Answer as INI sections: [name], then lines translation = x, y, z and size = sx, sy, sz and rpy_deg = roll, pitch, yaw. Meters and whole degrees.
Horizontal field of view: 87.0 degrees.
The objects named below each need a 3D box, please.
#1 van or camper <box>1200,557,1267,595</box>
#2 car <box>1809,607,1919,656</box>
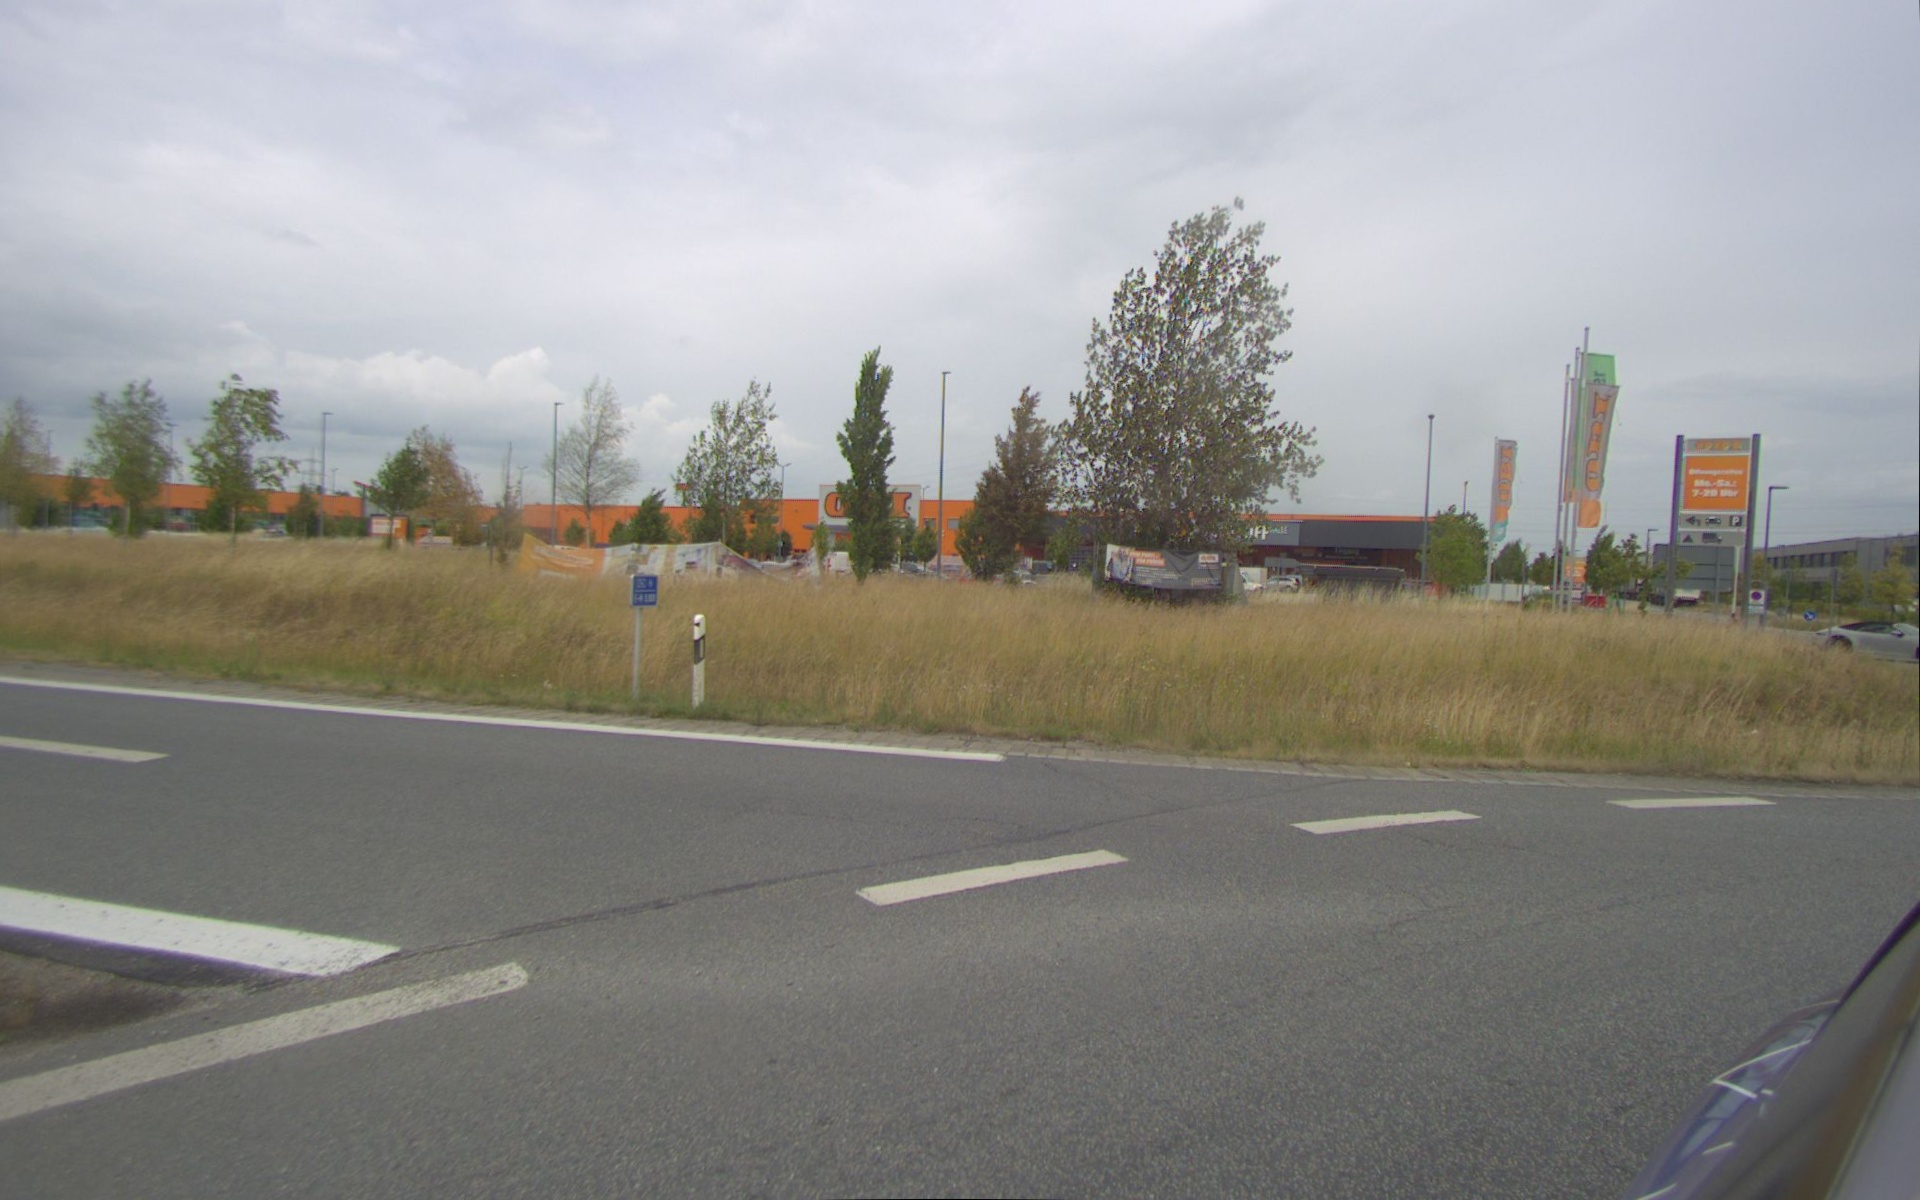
[van or camper]
translation = 21.801, -1.935, 80.793
size = 4.723, 2.825, 1.979
rpy_deg = 3, 2, 30
[car]
translation = 31.504, 1.071, 33.599
size = 1.790, 1.415, 4.745
rpy_deg = 0, 3, -25
